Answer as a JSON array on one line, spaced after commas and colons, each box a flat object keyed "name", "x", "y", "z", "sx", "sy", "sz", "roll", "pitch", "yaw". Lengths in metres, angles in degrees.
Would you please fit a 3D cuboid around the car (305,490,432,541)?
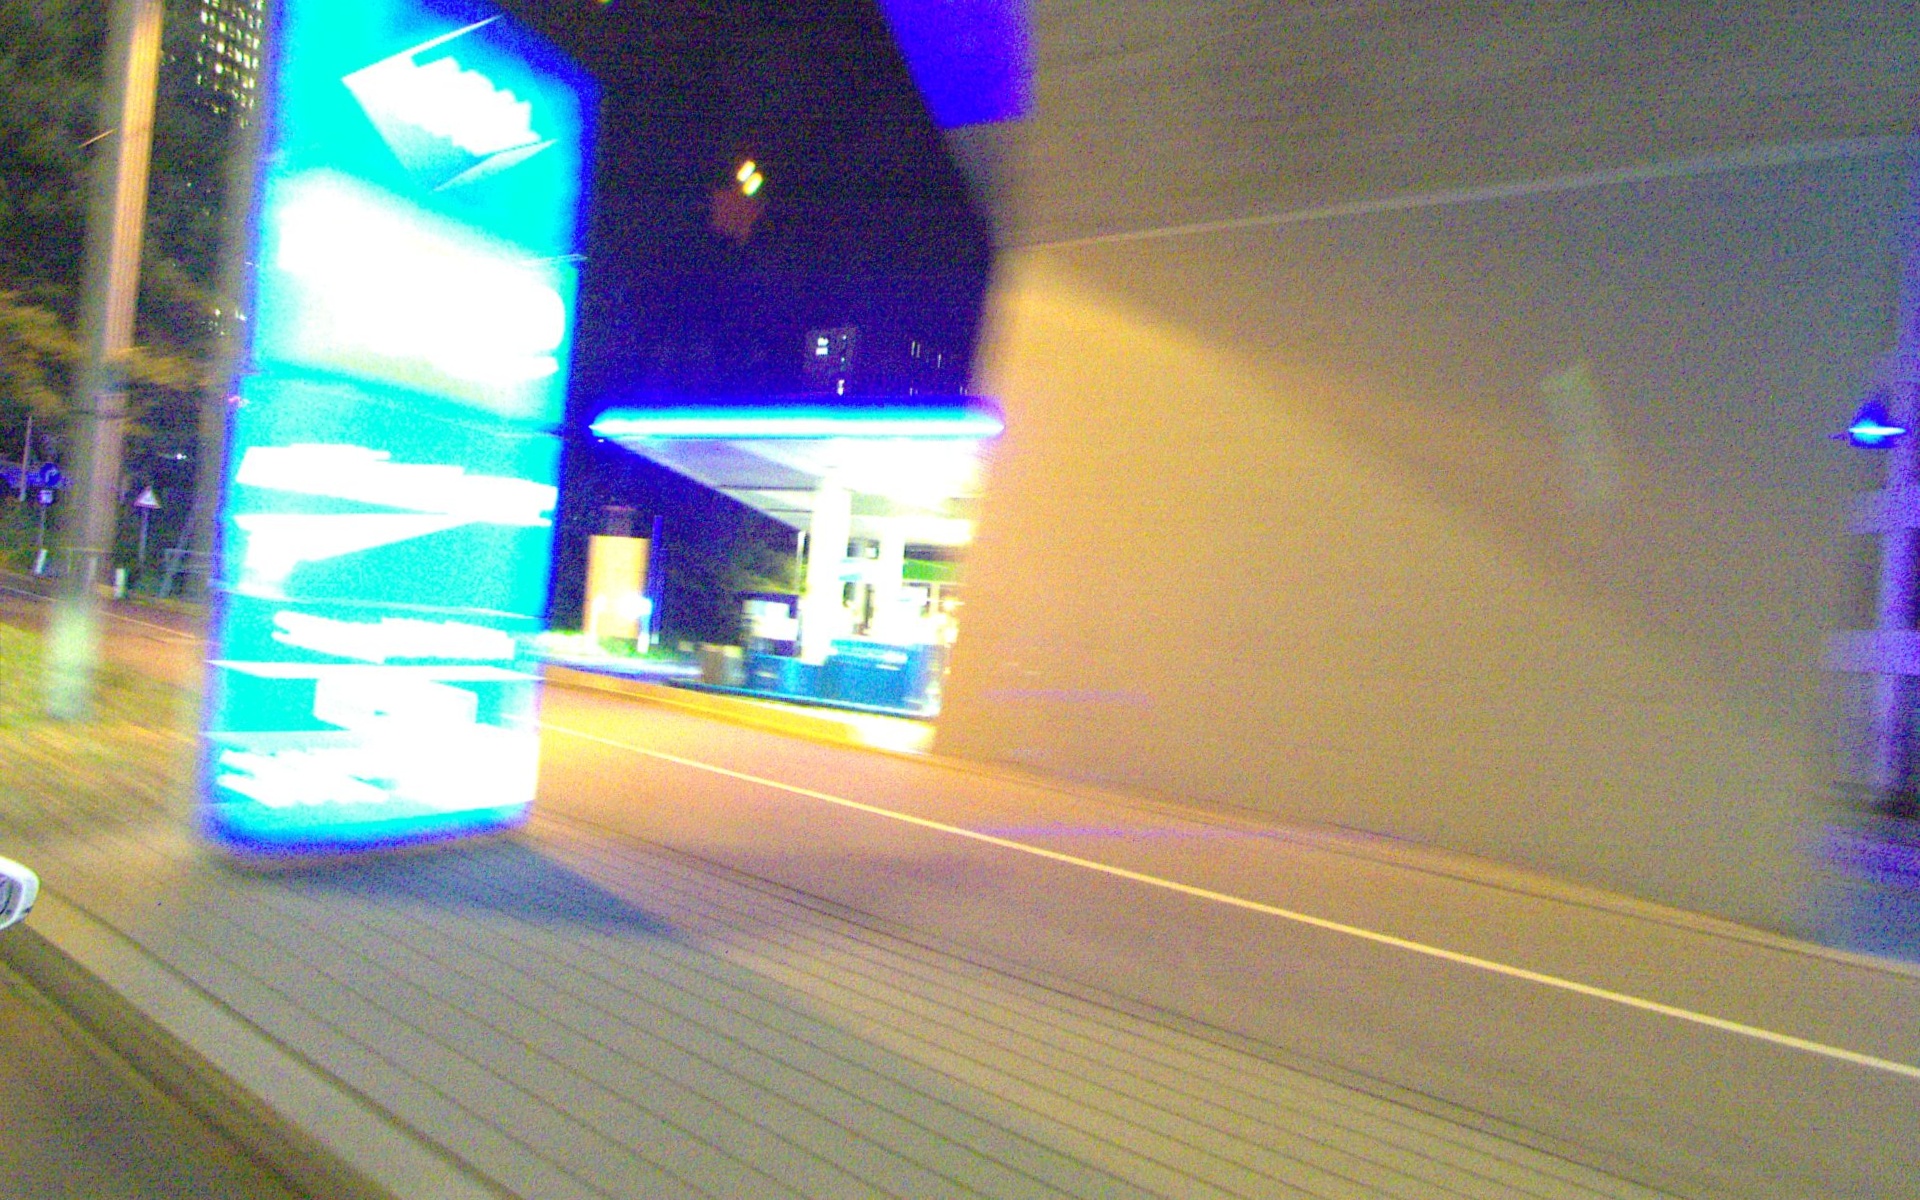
[{"name": "car", "x": -21.635, "y": -3.066, "z": 36.902, "sx": 1.610, "sy": 1.490, "sz": 3.640, "roll": 5, "pitch": 2, "yaw": 32}]

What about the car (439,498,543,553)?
[{"name": "car", "x": -20.579, "y": -3.245, "z": 44.253, "sx": 1.721, "sy": 1.919, "sz": 3.816, "roll": 5, "pitch": 0, "yaw": 26}]

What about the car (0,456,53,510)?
[{"name": "car", "x": -32.169, "y": -3.948, "z": 32.593, "sx": 1.749, "sy": 1.608, "sz": 3.751, "roll": 5, "pitch": 1, "yaw": 27}]

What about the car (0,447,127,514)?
[{"name": "car", "x": -27.917, "y": -3.636, "z": 30.169, "sx": 1.792, "sy": 1.541, "sz": 4.124, "roll": 4, "pitch": -1, "yaw": 30}]

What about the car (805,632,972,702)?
[{"name": "car", "x": -1.900, "y": 1.777, "z": 26.695, "sx": 3.995, "sy": 1.374, "sz": 1.659, "roll": 5, "pitch": -2, "yaw": 23}]

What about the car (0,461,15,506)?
[{"name": "car", "x": -34.342, "y": -4.143, "z": 33.542, "sx": 1.712, "sy": 1.508, "sz": 3.731, "roll": 5, "pitch": 0, "yaw": 27}]

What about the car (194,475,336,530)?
[{"name": "car", "x": -27.895, "y": -3.884, "z": 40.541, "sx": 1.722, "sy": 1.748, "sz": 4.360, "roll": 5, "pitch": 2, "yaw": 31}]

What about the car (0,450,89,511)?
[{"name": "car", "x": -29.945, "y": -3.828, "z": 31.255, "sx": 1.709, "sy": 1.591, "sz": 3.991, "roll": 5, "pitch": 0, "yaw": 30}]
